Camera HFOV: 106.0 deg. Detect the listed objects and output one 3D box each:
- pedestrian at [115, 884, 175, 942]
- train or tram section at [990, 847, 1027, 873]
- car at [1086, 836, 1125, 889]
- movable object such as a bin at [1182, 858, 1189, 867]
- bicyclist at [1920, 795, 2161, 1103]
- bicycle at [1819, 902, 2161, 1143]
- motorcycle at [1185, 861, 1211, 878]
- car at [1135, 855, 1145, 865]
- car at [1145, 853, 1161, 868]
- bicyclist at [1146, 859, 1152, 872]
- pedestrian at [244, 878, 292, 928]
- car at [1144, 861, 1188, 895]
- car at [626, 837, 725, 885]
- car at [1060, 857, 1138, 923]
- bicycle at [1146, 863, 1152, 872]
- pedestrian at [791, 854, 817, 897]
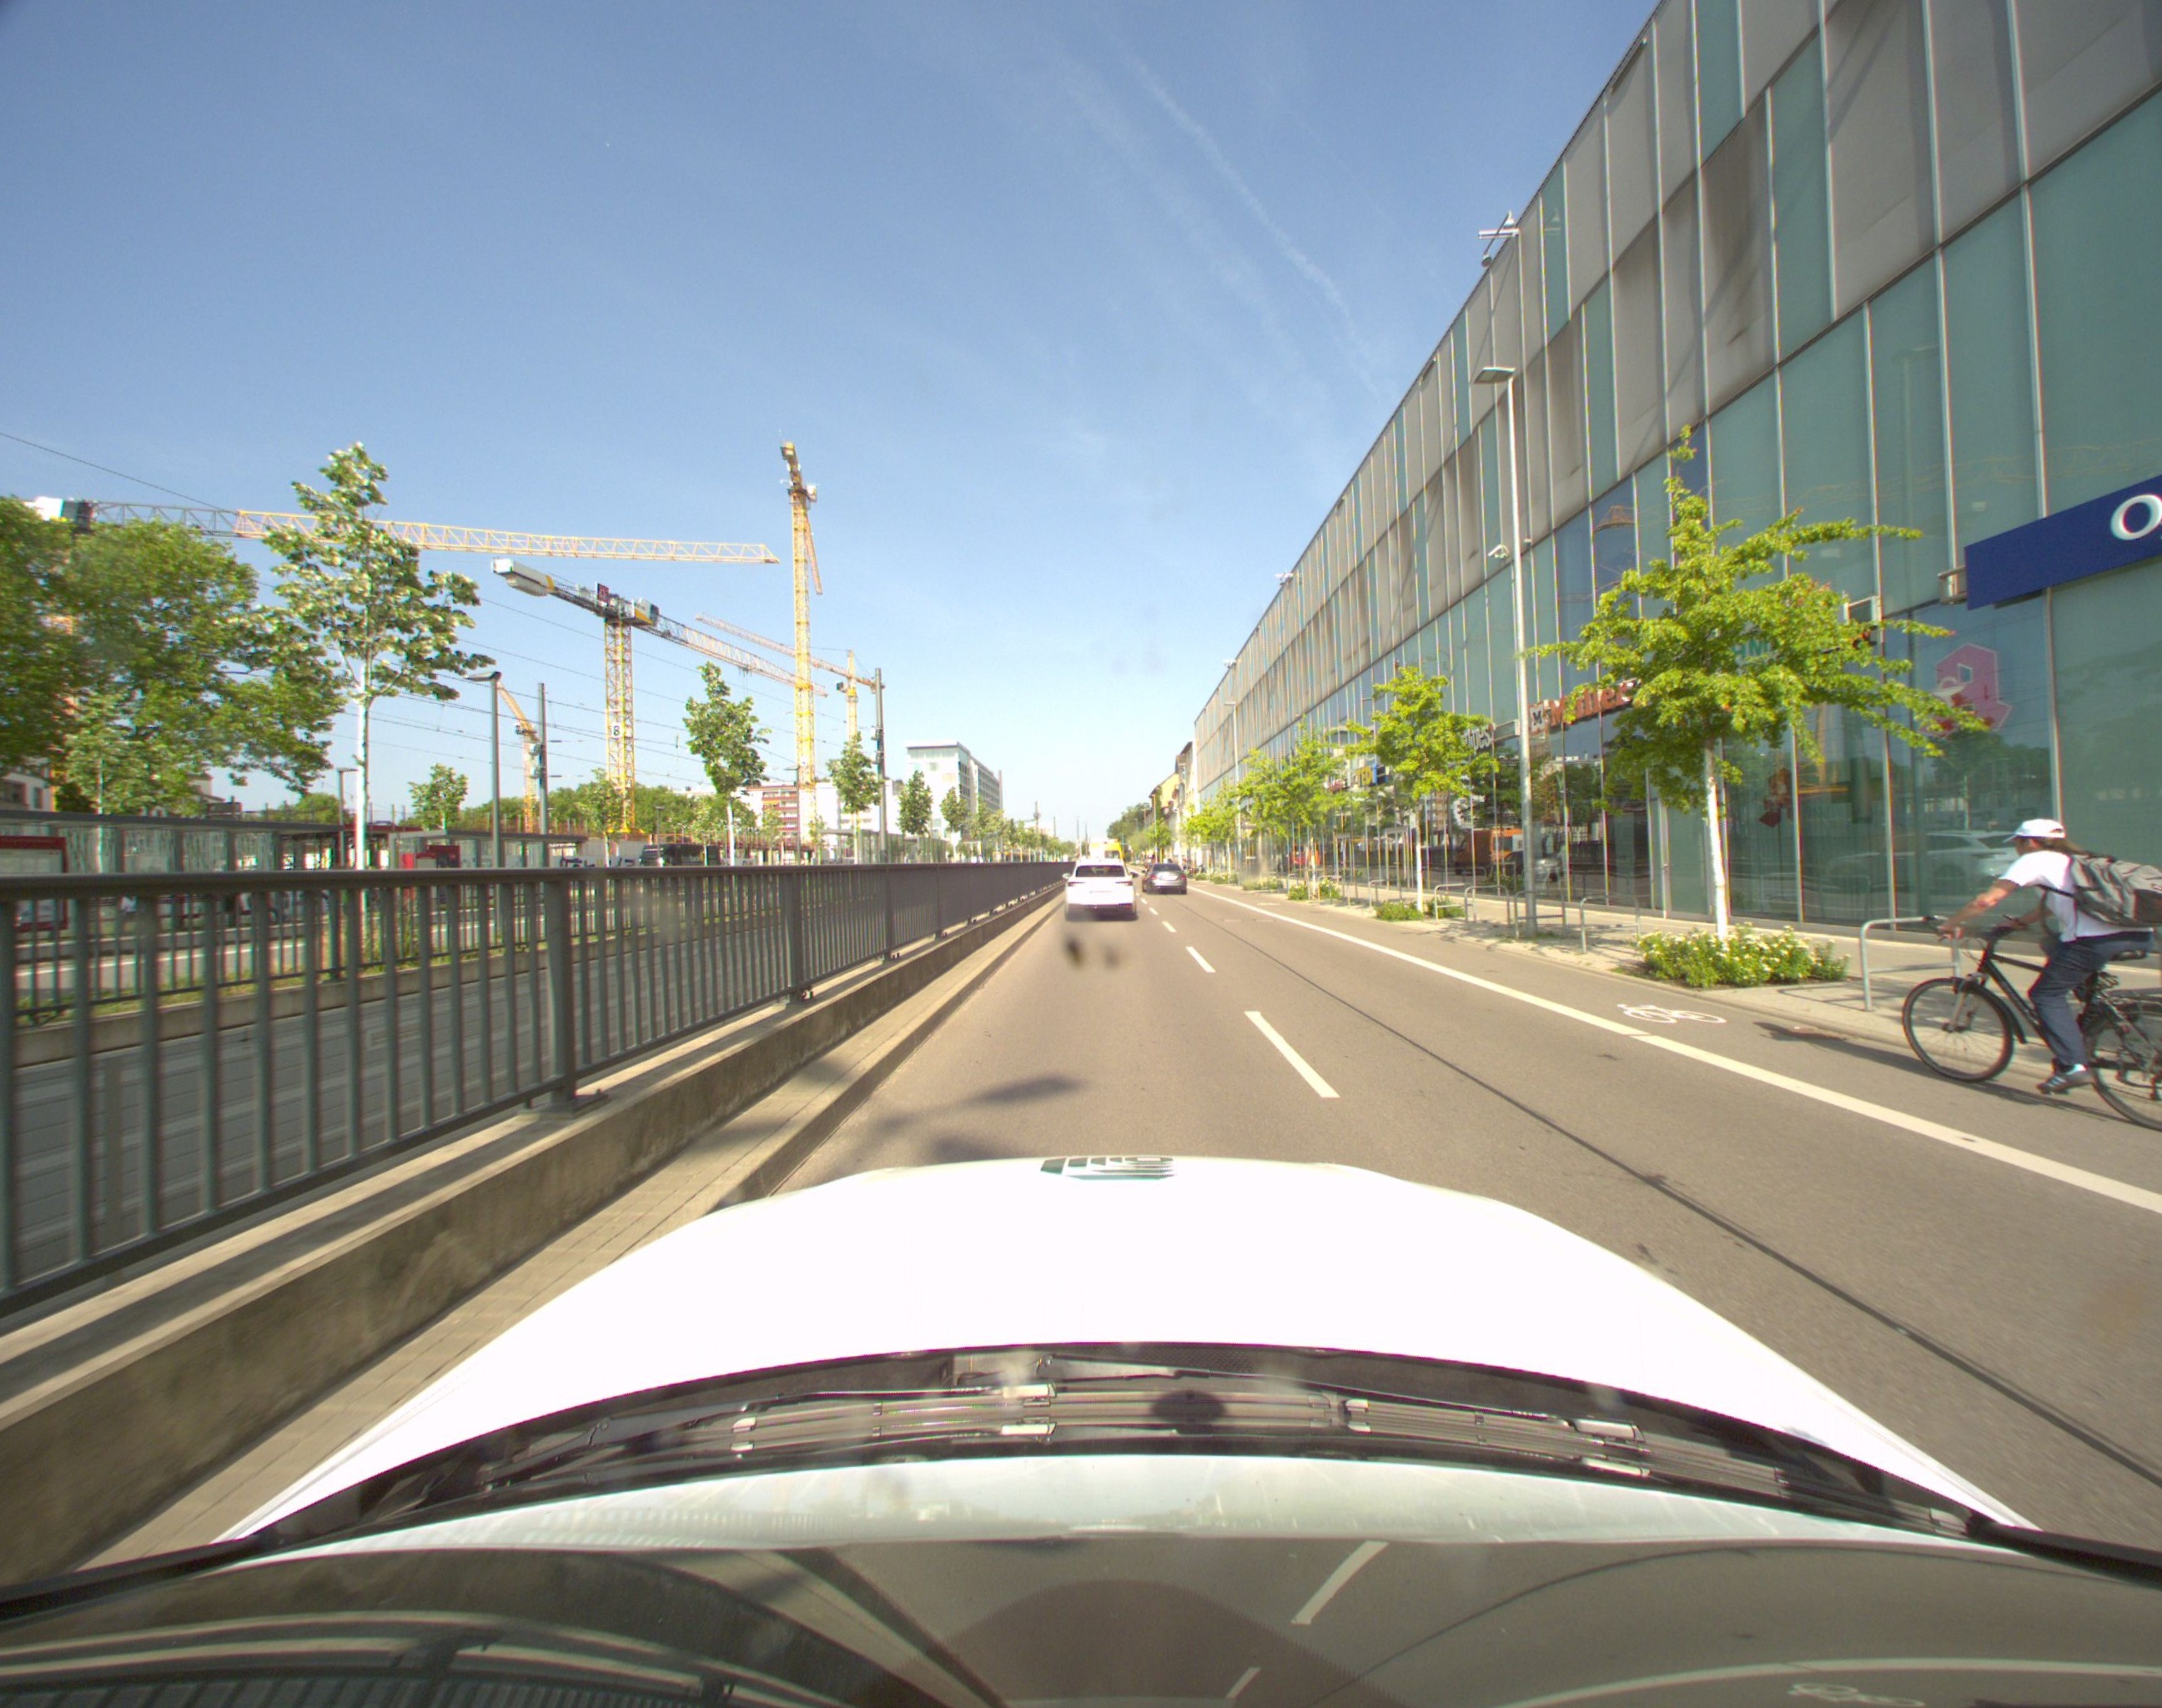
[{"bbox_3d":[-22.098,1.379,19.236,0.678,1.300,0.592,-2,0,-2],"label":"pedestrian"},{"bbox_3d":[-11.188,0.961,127.696,2.893,3.676,18.154,0,-1,4],"label":"train or tram section"},{"bbox_3d":[1.422,0.420,46.951,2.012,2.795,5.404,-2,2,2],"label":"car"},{"bbox_3d":[13.682,1.127,106.758,0.674,1.152,0.610,-3,2,-42],"label":"movable object such as a bin"},{"bbox_3d":[5.955,0.549,5.057,0.648,1.749,0.770,-2,0,4],"label":"bicyclist"},{"bbox_3d":[5.969,0.939,5.250,0.658,1.117,2.053,-2,0,4],"label":"bicycle"},{"bbox_3d":[9.598,1.284,66.865,1.968,1.350,0.865,-2,-1,-9],"label":"motorcycle"},{"bbox_3d":[11.867,1.222,164.936,1.806,1.812,3.837,-1,0,1],"label":"car"},{"bbox_3d":[10.697,0.923,121.353,2.055,2.013,4.590,-2,0,1],"label":"car"},{"bbox_3d":[8.107,1.365,97.491,0.636,1.577,0.772,-2,-1,4],"label":"bicyclist"},{"bbox_3d":[-22.161,1.329,22.215,0.678,1.300,0.592,-2,0,-2],"label":"pedestrian"},{"bbox_3d":[3.863,1.062,37.461,1.753,1.436,4.117,0,0,2],"label":"car"},{"bbox_3d":[-31.968,0.550,64.826,3.043,3.513,9.236,-1,-1,1],"label":"car"},{"bbox_3d":[0.515,0.886,21.901,1.862,1.574,4.002,-2,0,2],"label":"car"},{"bbox_3d":[8.102,1.617,97.333,0.652,0.939,1.519,-2,0,4],"label":"bicycle"},{"bbox_3d":[-10.755,0.831,31.673,0.733,1.619,0.711,-2,-1,1],"label":"pedestrian"}]
